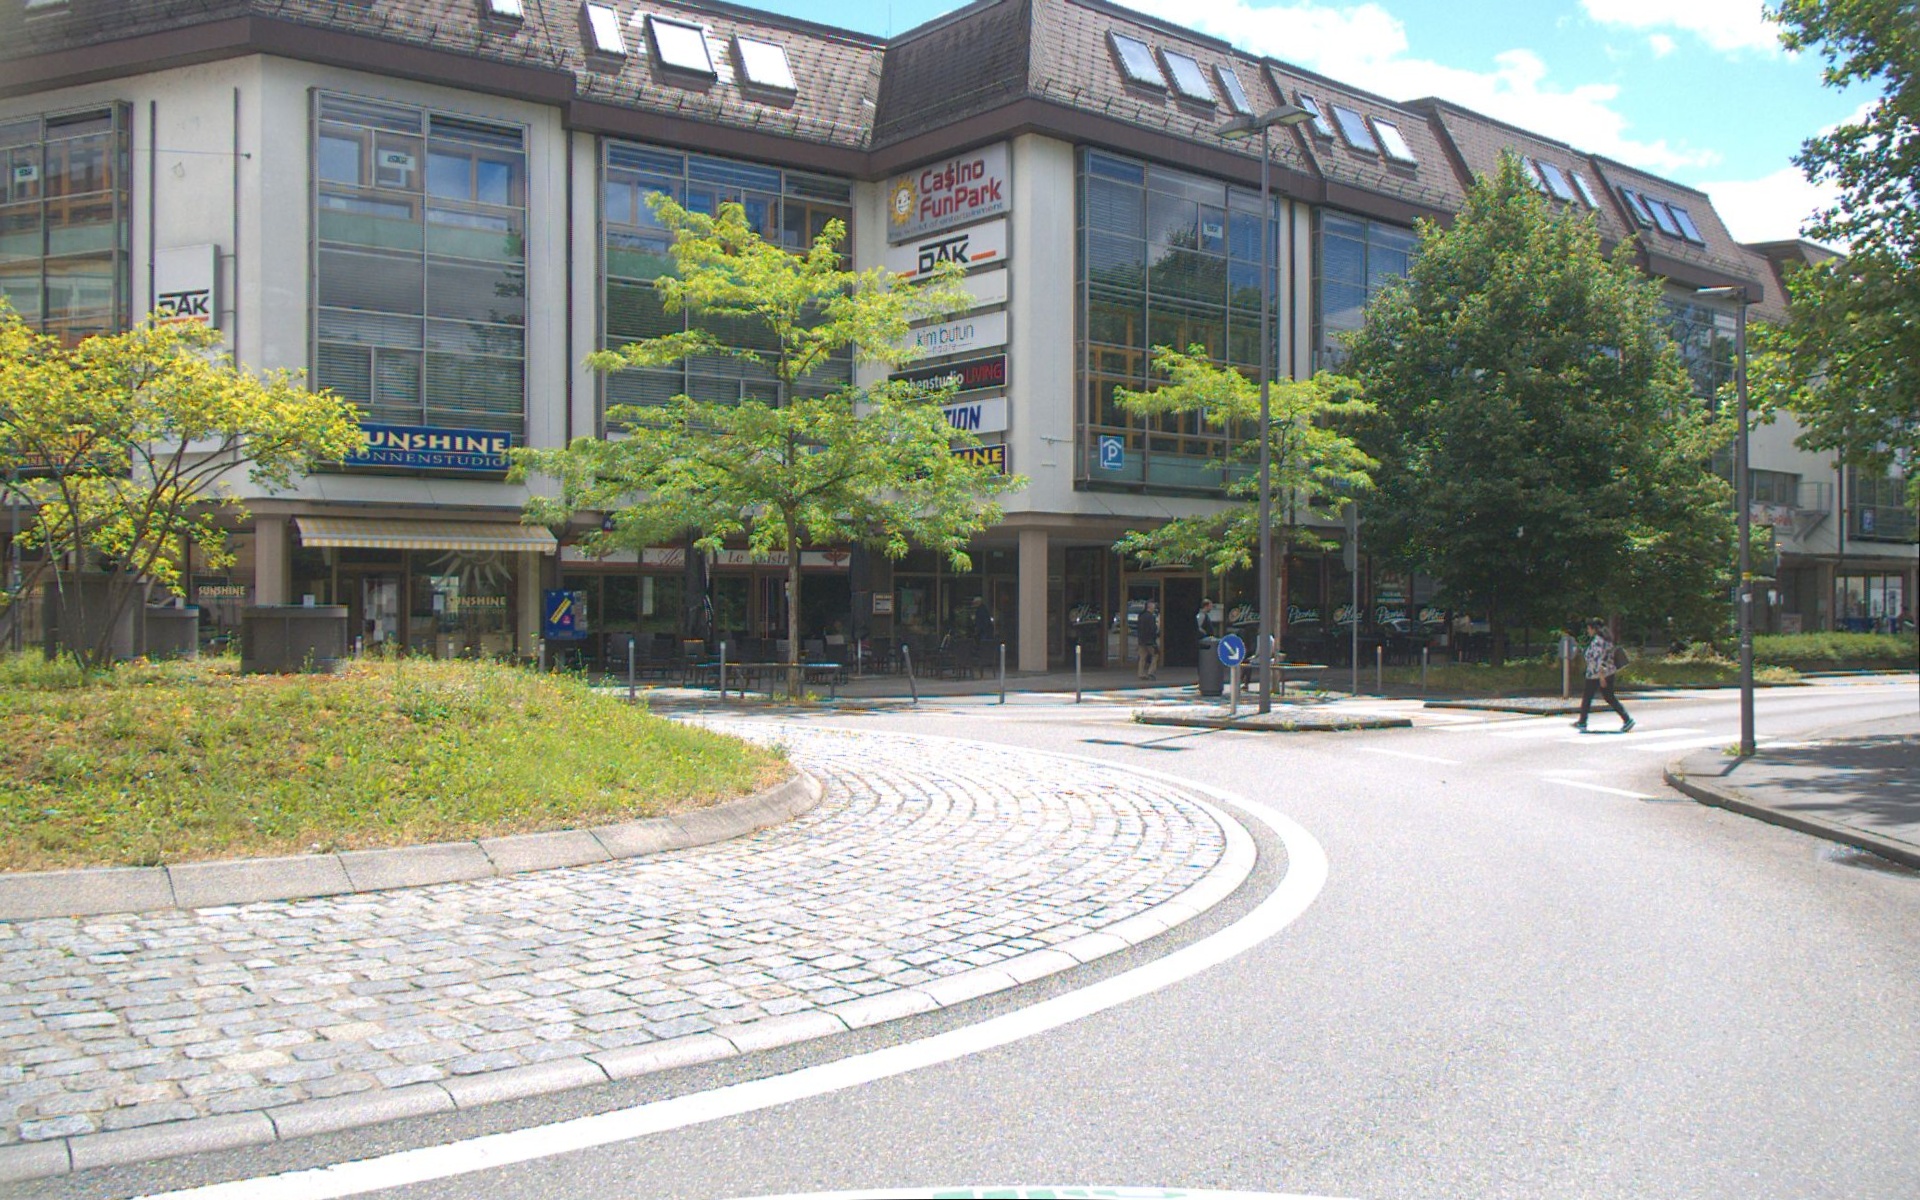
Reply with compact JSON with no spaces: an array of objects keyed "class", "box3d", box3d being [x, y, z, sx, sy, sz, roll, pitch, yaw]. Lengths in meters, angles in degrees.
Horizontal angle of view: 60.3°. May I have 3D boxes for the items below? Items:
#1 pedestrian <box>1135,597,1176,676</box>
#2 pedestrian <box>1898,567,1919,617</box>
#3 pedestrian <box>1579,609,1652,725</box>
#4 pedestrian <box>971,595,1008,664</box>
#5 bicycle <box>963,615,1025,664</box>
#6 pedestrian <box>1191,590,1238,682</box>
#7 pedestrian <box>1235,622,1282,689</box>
[{"class":"pedestrian","box3d":[4.259,0.792,36.050,0.605,1.704,0.695,1,-1,36]},{"class":"pedestrian","box3d":[40.181,-0.310,69.223,1.079,2.049,1.328,3,-2,-42]},{"class":"pedestrian","box3d":[9.181,0.923,23.200,0.747,1.581,0.780,1,-1,6]},{"class":"pedestrian","box3d":[0.741,0.746,41.532,0.692,1.704,0.608,1,-1,-42]},{"class":"bicycle","box3d":[0.859,0.992,41.251,1.506,1.189,0.496,1,-2,2]},{"class":"pedestrian","box3d":[5.254,0.728,34.129,0.611,1.850,0.689,-4,2,-36]},{"class":"pedestrian","box3d":[6.002,1.109,33.275,0.608,1.307,0.691,1,-1,-29]}]
